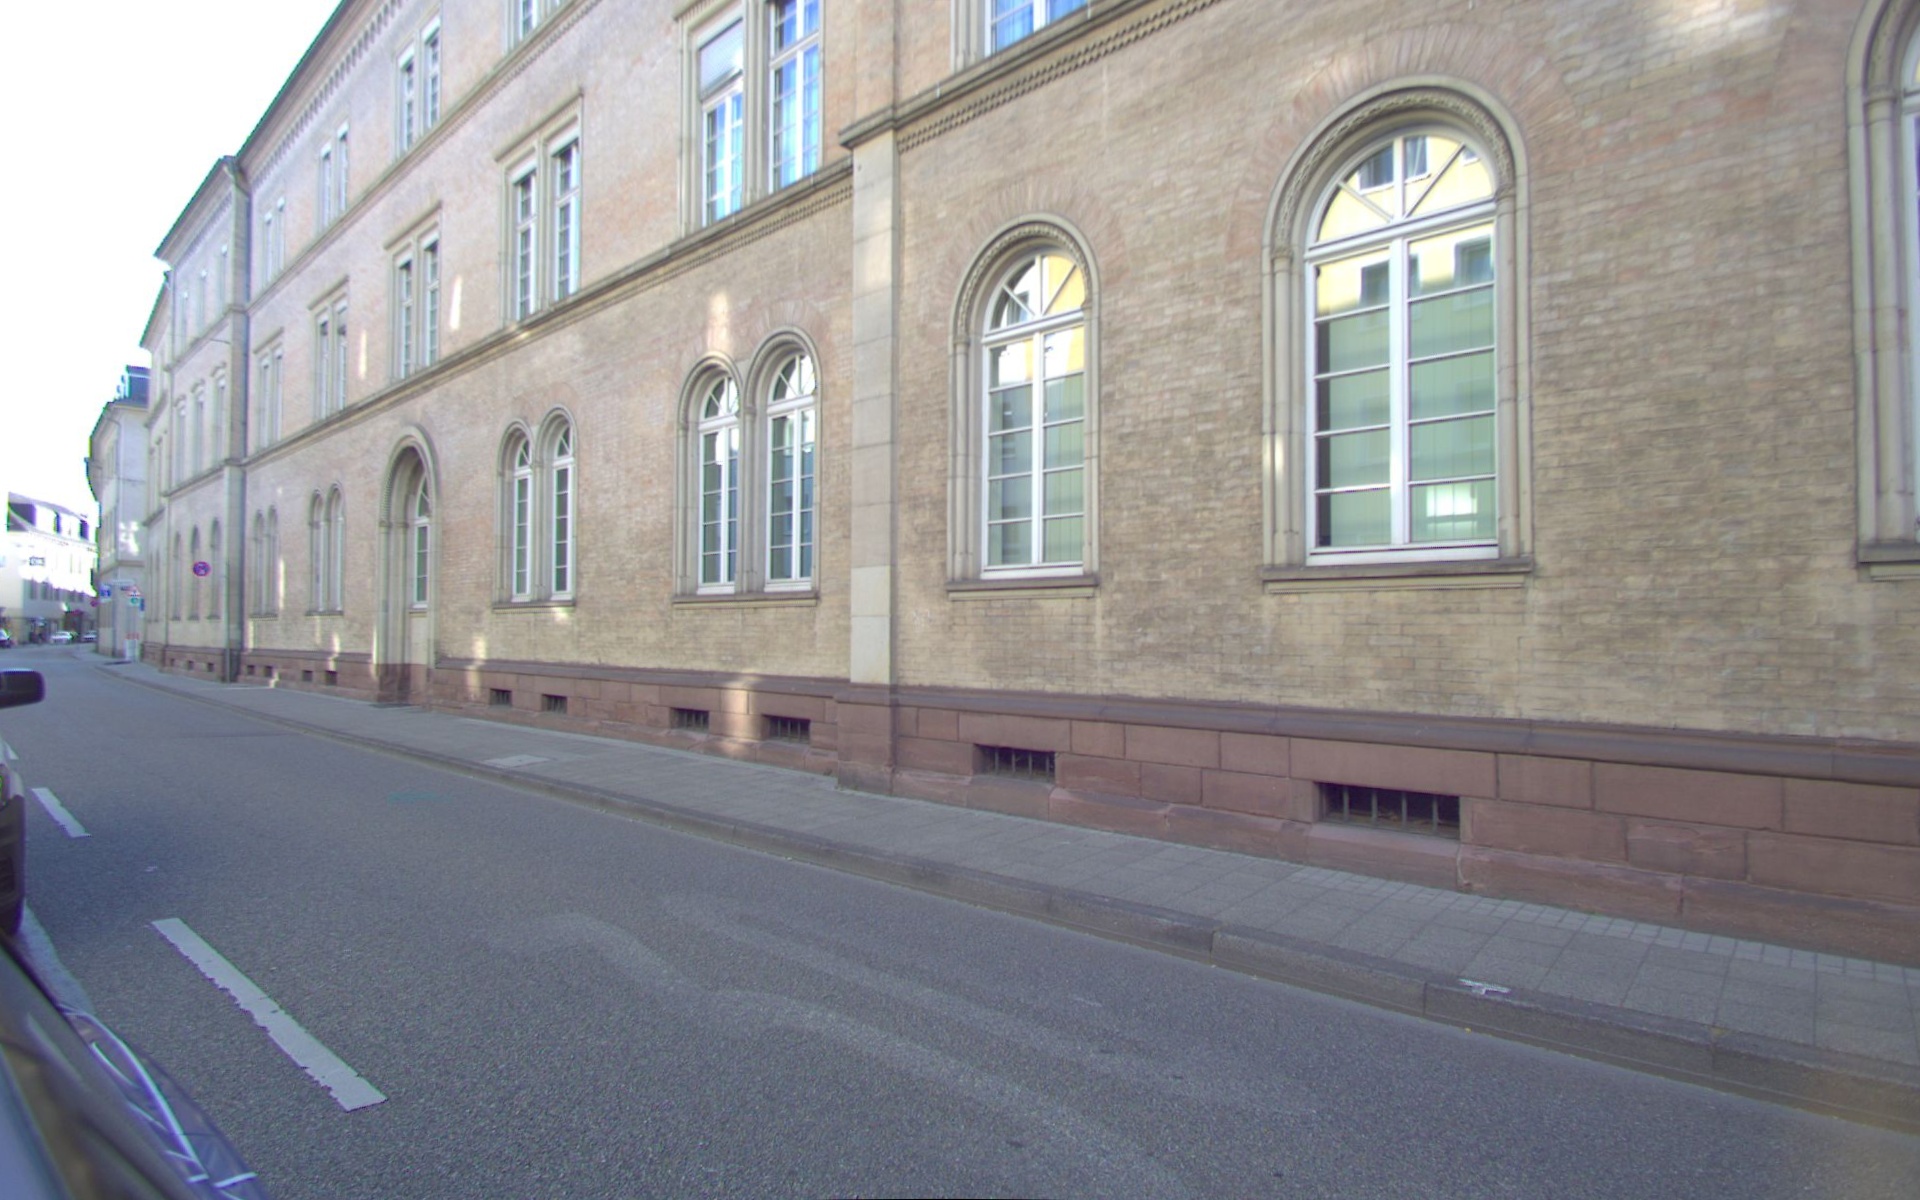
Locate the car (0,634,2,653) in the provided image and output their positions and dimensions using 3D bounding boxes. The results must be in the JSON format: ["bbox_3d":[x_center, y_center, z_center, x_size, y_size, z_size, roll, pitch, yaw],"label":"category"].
[{"bbox_3d":[-86.615,3.902,89.961,1.969,1.665,4.235,-1,0,-41],"label":"car"}]

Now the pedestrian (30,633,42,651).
[{"bbox_3d":[-89.664,4.069,98.185,0.694,1.648,0.834,5,-4,-38],"label":"pedestrian"}]

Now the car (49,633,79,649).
[{"bbox_3d":[-102.856,4.698,116.187,1.966,1.665,4.240,-1,0,-33],"label":"car"}]

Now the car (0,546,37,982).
[{"bbox_3d":[-6.437,0.680,5.317,5.329,1.784,1.747,-1,-2,41],"label":"car"}]

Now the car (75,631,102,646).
[{"bbox_3d":[-109.229,4.778,126.840,1.966,1.665,4.240,-1,0,-33],"label":"car"}]

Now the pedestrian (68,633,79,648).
[{"bbox_3d":[-97.487,4.440,111.327,0.694,1.648,0.834,5,-4,-36],"label":"pedestrian"}]
